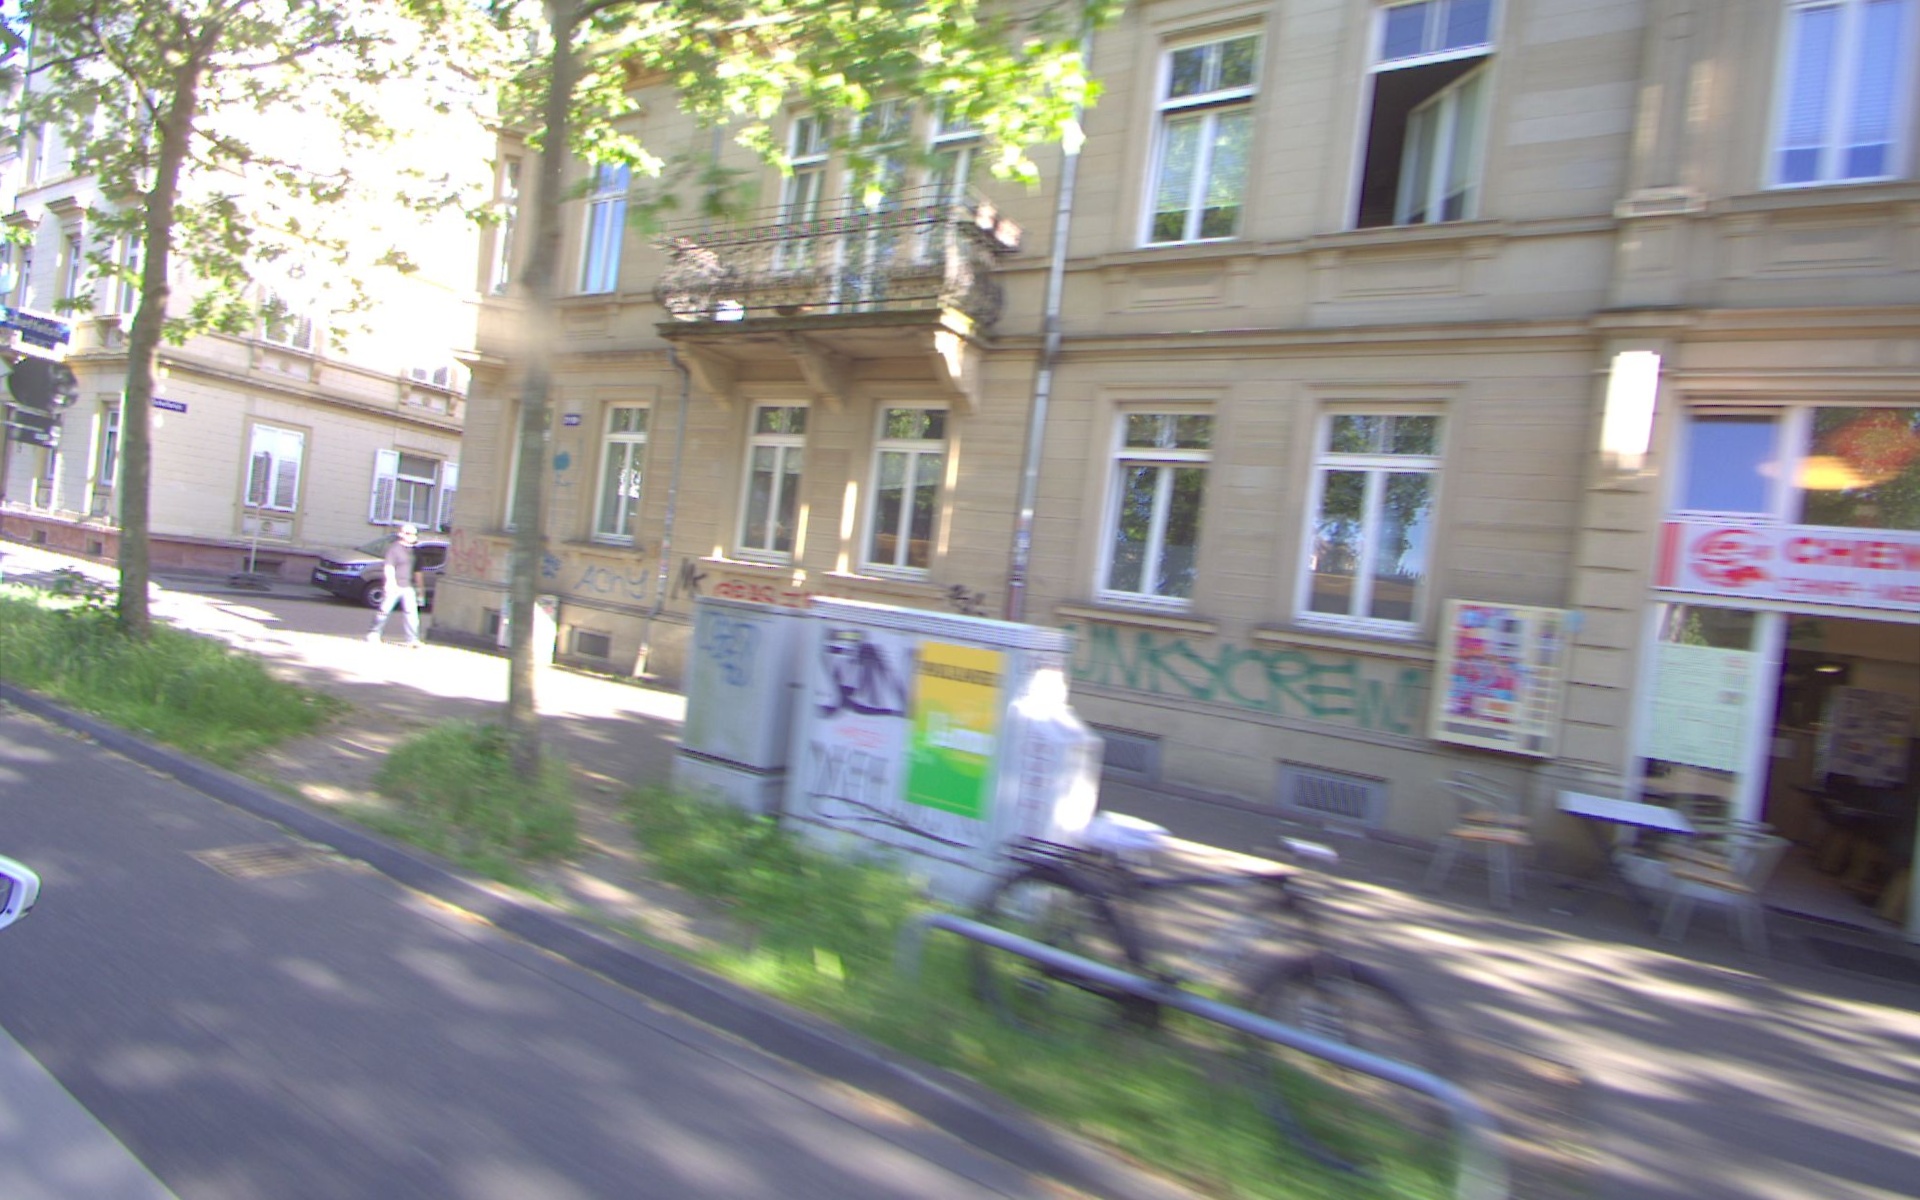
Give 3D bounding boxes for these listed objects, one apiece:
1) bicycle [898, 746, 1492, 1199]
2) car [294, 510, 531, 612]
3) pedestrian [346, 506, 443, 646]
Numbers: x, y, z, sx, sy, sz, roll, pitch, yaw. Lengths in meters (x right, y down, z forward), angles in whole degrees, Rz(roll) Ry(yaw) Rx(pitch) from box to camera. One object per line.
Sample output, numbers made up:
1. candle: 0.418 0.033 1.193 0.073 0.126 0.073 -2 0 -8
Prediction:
1. bicycle: 0.685 1.130 3.272 1.721 0.981 0.428 8 -1 32
2. car: -13.241 -0.880 24.613 1.890 1.794 4.586 8 -1 35
3. pedestrian: -8.068 -0.343 14.358 0.943 1.848 0.565 8 -1 29
